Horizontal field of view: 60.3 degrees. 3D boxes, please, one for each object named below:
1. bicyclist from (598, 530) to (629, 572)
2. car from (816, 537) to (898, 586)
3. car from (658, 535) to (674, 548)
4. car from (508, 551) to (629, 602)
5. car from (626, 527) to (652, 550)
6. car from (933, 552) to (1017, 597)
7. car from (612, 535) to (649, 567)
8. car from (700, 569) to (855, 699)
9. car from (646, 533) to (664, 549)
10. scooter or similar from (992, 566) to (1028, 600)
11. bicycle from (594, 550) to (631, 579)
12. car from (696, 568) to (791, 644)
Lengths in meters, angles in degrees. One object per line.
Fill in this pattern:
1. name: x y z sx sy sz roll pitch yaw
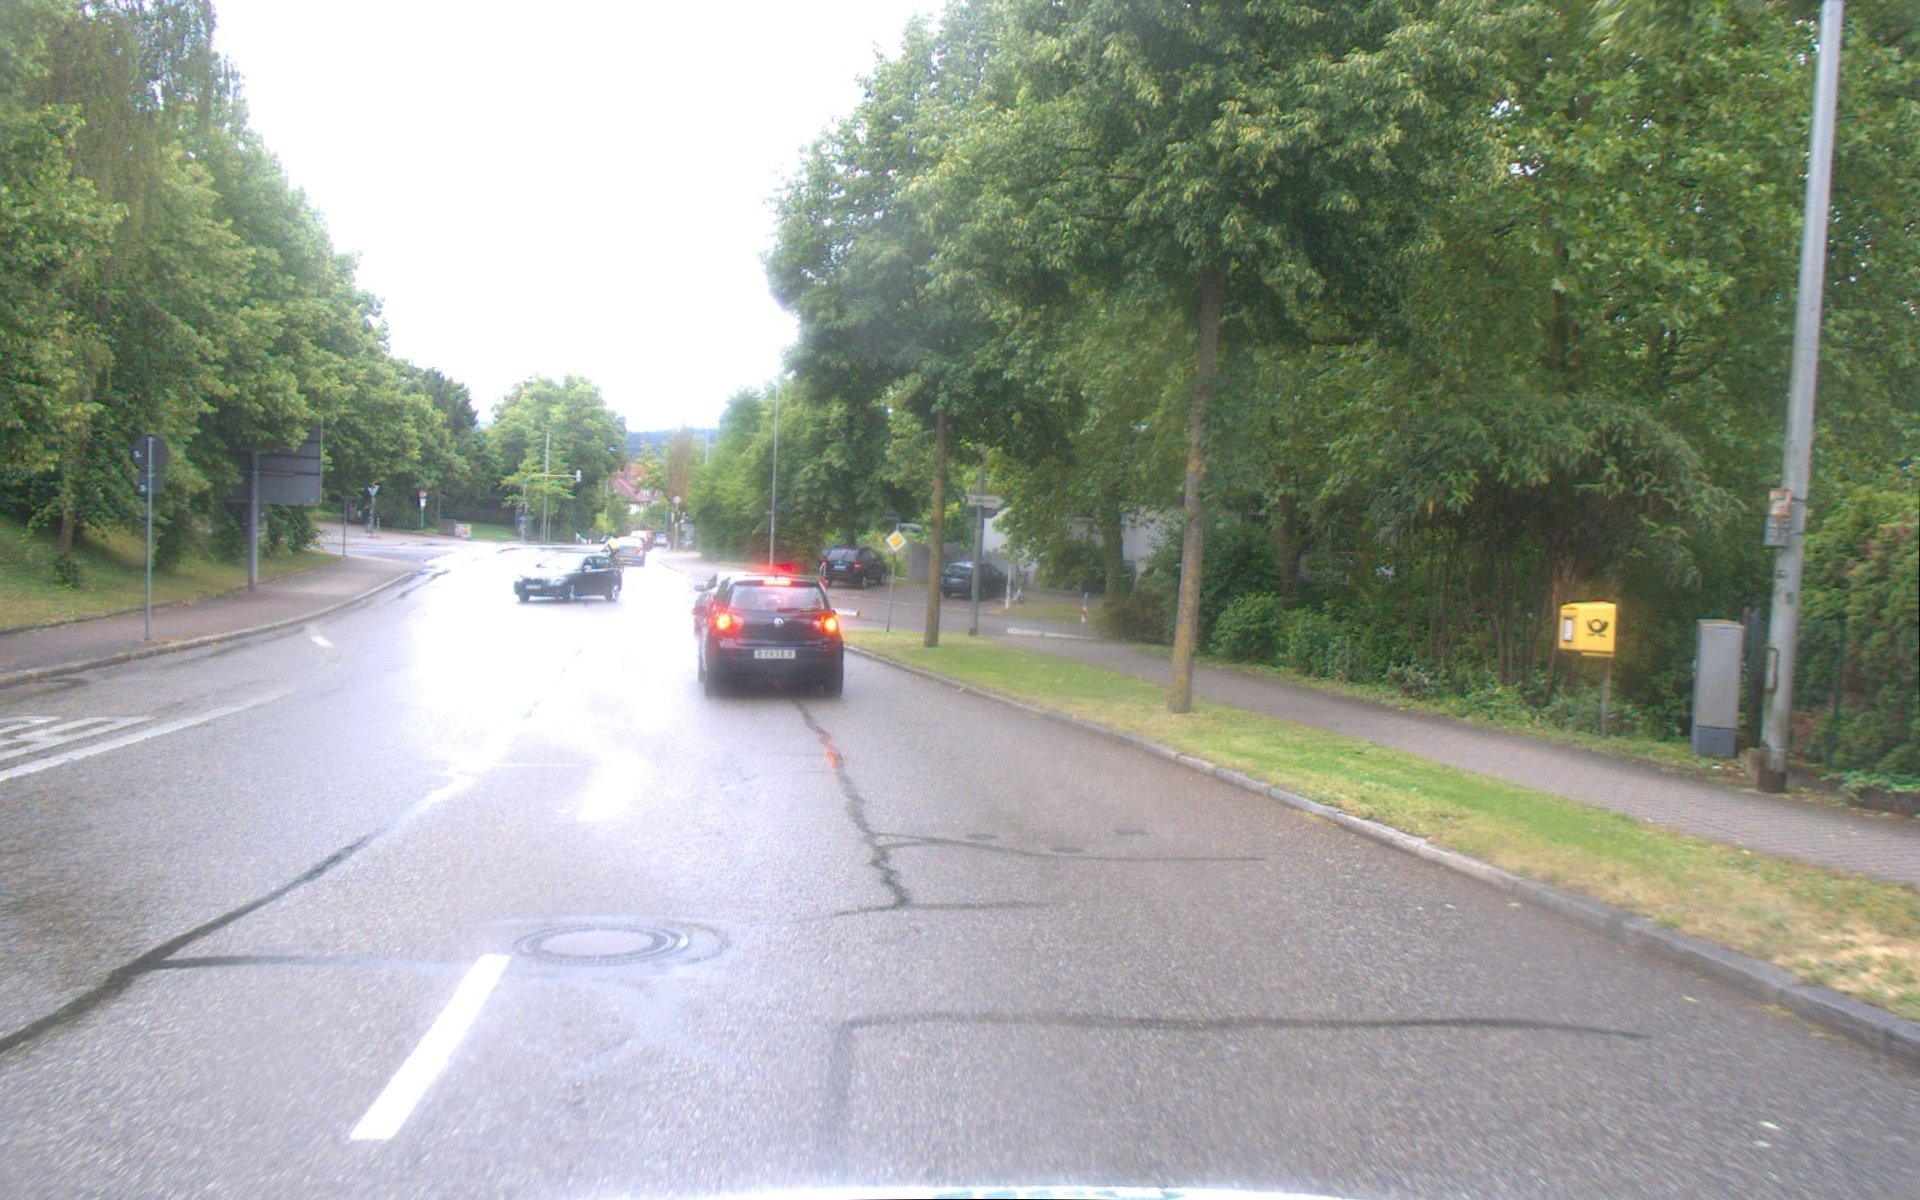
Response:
1. bicyclist: -15.051 -2.126 71.868 0.844 1.786 1.271 2 1 -34
2. car: -4.329 -1.664 70.155 1.907 1.717 4.909 5 5 15
3. car: -35.847 -7.141 201.525 1.691 1.489 3.991 6 1 -11
4. car: -11.911 -0.684 50.547 1.685 1.408 4.141 3 0 17
5. car: -23.659 -4.521 122.068 1.691 1.489 3.991 6 1 -11
6. car: 0.653 -1.095 68.624 1.717 1.494 4.565 6 6 24
7. car: -17.168 -2.575 86.322 1.691 1.489 3.991 6 1 -11
8. car: -2.473 0.389 21.690 1.690 1.489 3.990 2 0 -10
9. car: -30.669 -5.957 166.422 1.691 1.489 3.991 6 1 -11
10. scooter or similar: 2.018 -0.678 66.503 1.315 1.307 0.559 1 2 -19
11. bicycle: -15.112 -1.539 71.925 0.844 1.175 2.014 2 1 -34
12. car: -4.864 0.092 36.781 1.724 1.489 3.988 2 2 -13
